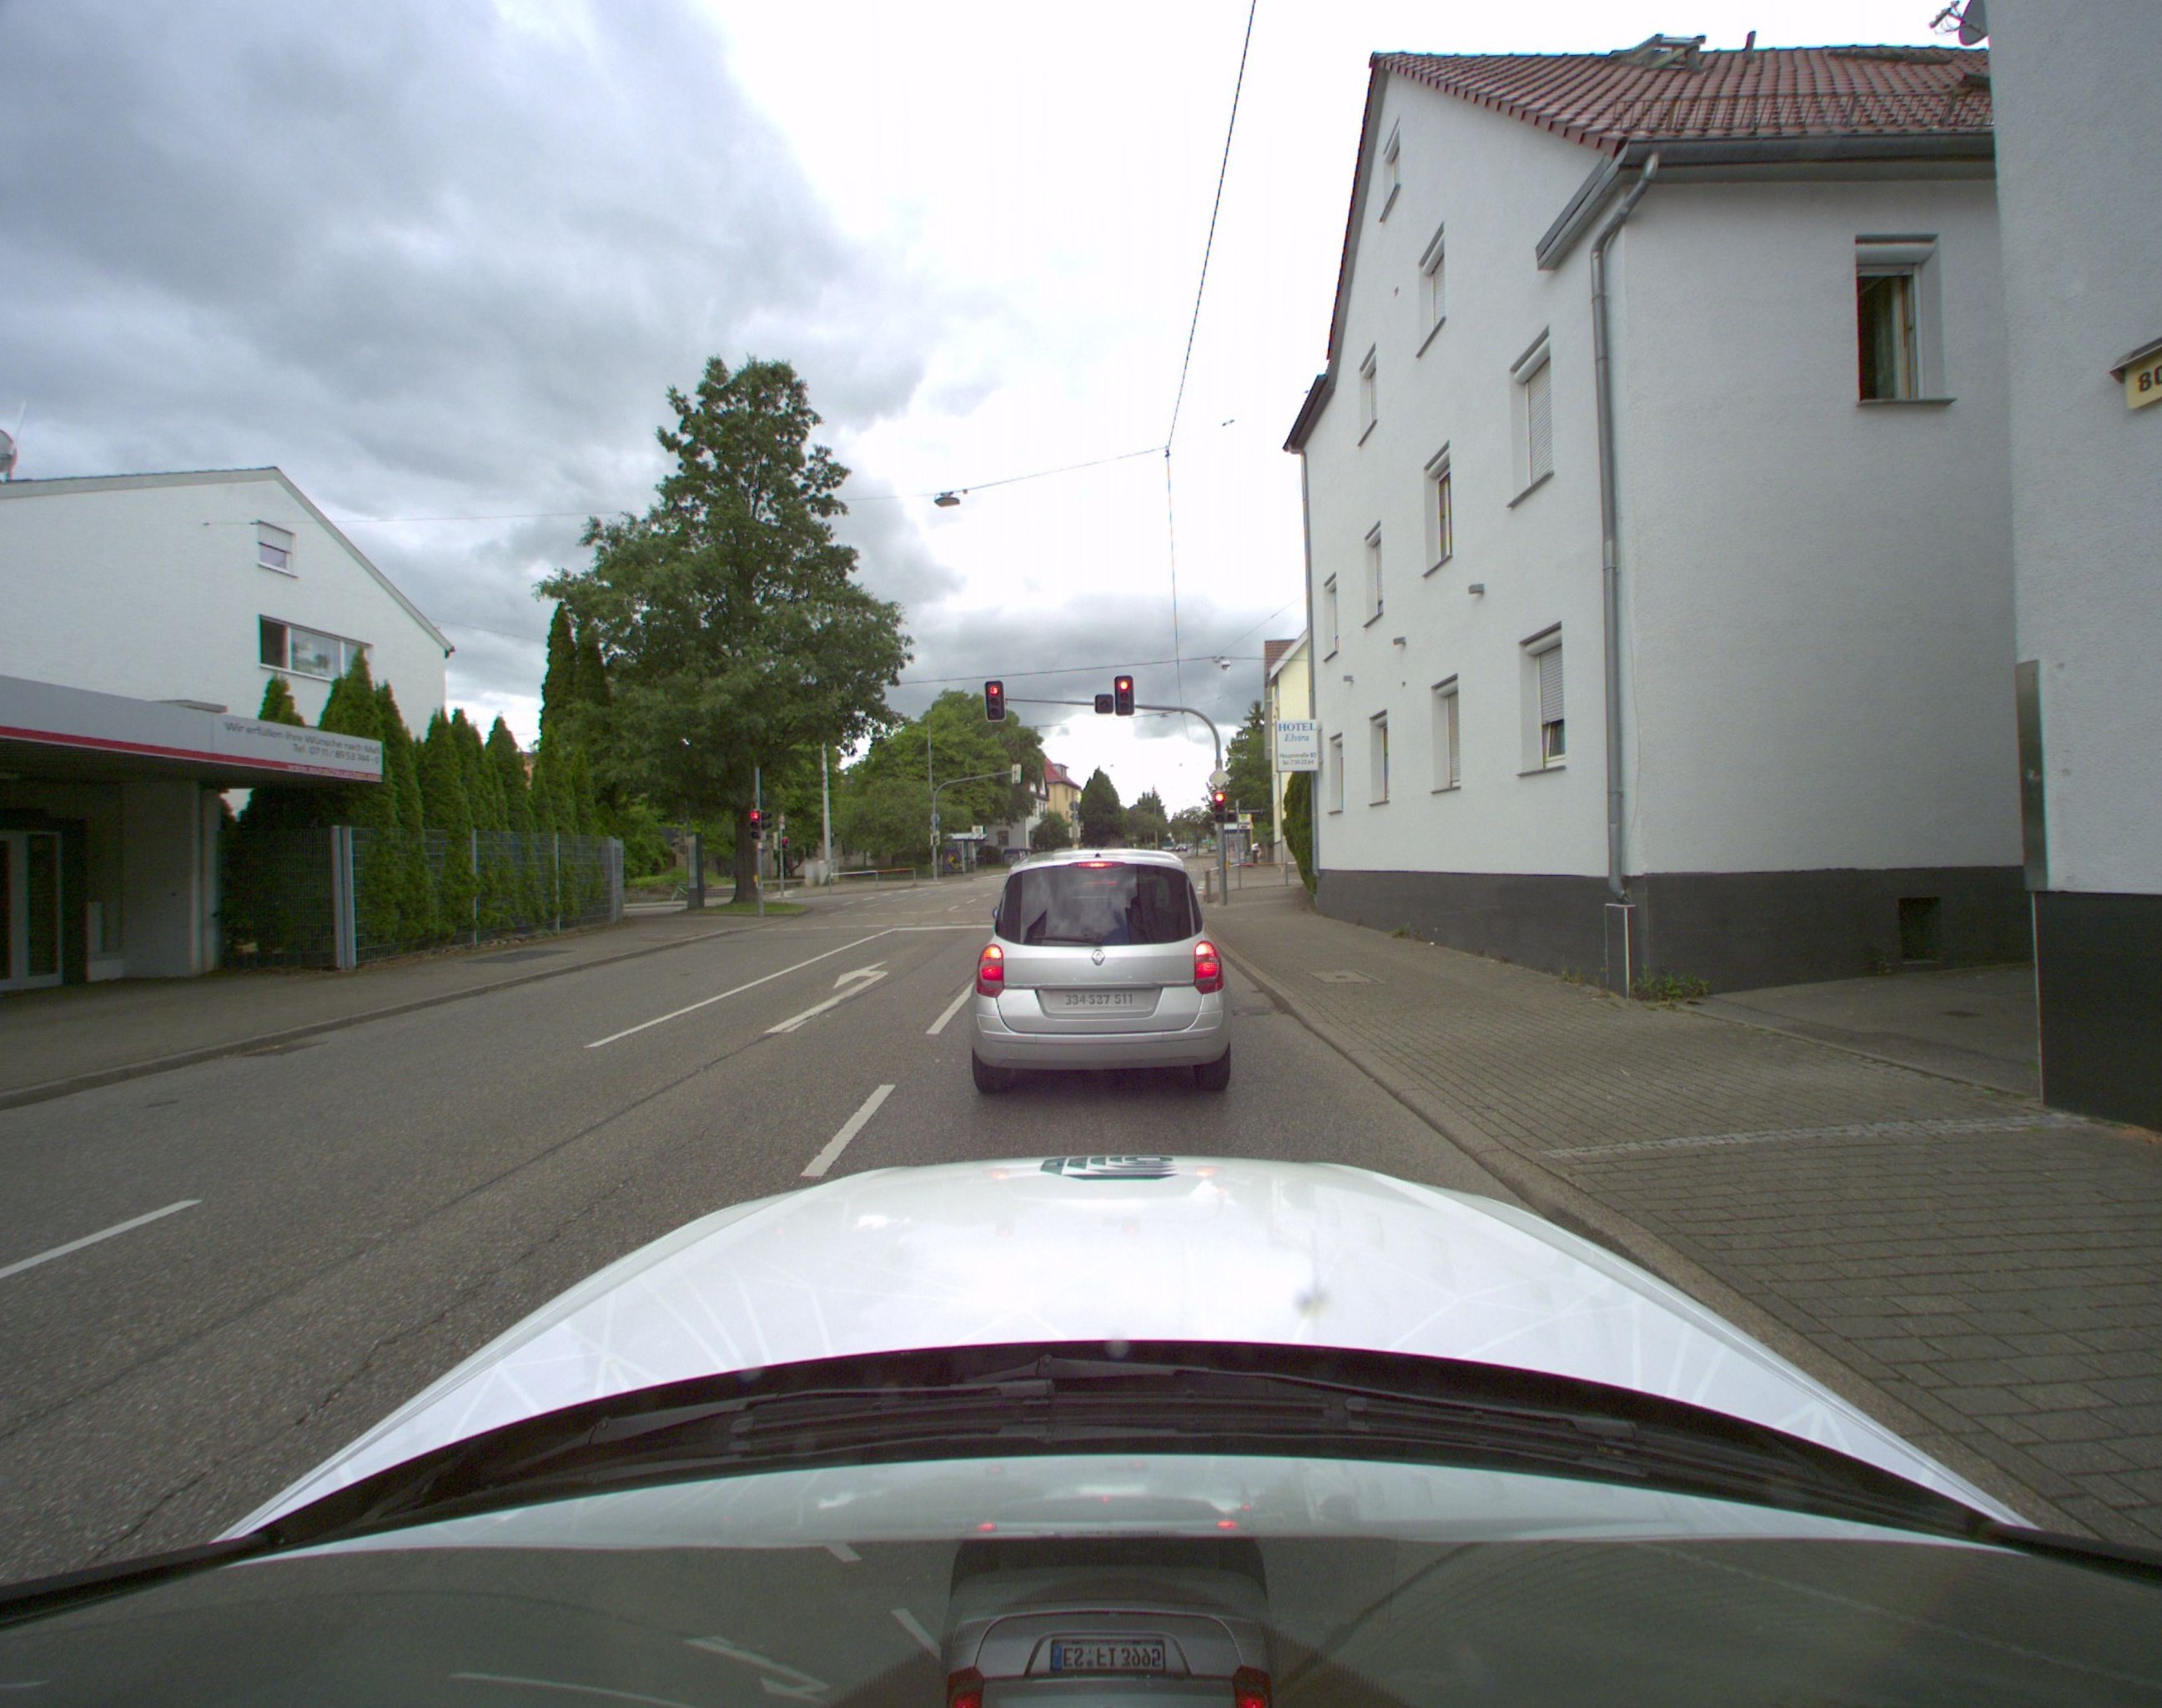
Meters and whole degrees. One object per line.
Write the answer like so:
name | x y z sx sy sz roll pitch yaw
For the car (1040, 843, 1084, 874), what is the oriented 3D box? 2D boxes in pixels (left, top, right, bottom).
car | -1.227 0.265 54.398 1.913 1.773 4.013 -6 -1 12

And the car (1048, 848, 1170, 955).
car | 0.454 0.695 13.759 1.748 1.530 3.798 -1 0 1

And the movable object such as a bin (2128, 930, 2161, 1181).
movable object such as a bin | 4.326 0.753 2.885 0.538 0.941 0.487 -4 -1 2

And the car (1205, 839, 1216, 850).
car | 30.492 -2.252 191.364 2.044 2.512 5.616 -1 0 14

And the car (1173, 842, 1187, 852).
car | 17.220 -1.185 141.164 1.844 1.748 4.015 -1 0 13

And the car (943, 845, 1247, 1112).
car | 0.132 0.732 6.739 1.748 1.530 4.001 -1 0 1

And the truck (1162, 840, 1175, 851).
truck | 17.882 -1.734 166.378 2.088 2.013 5.766 -1 0 11
